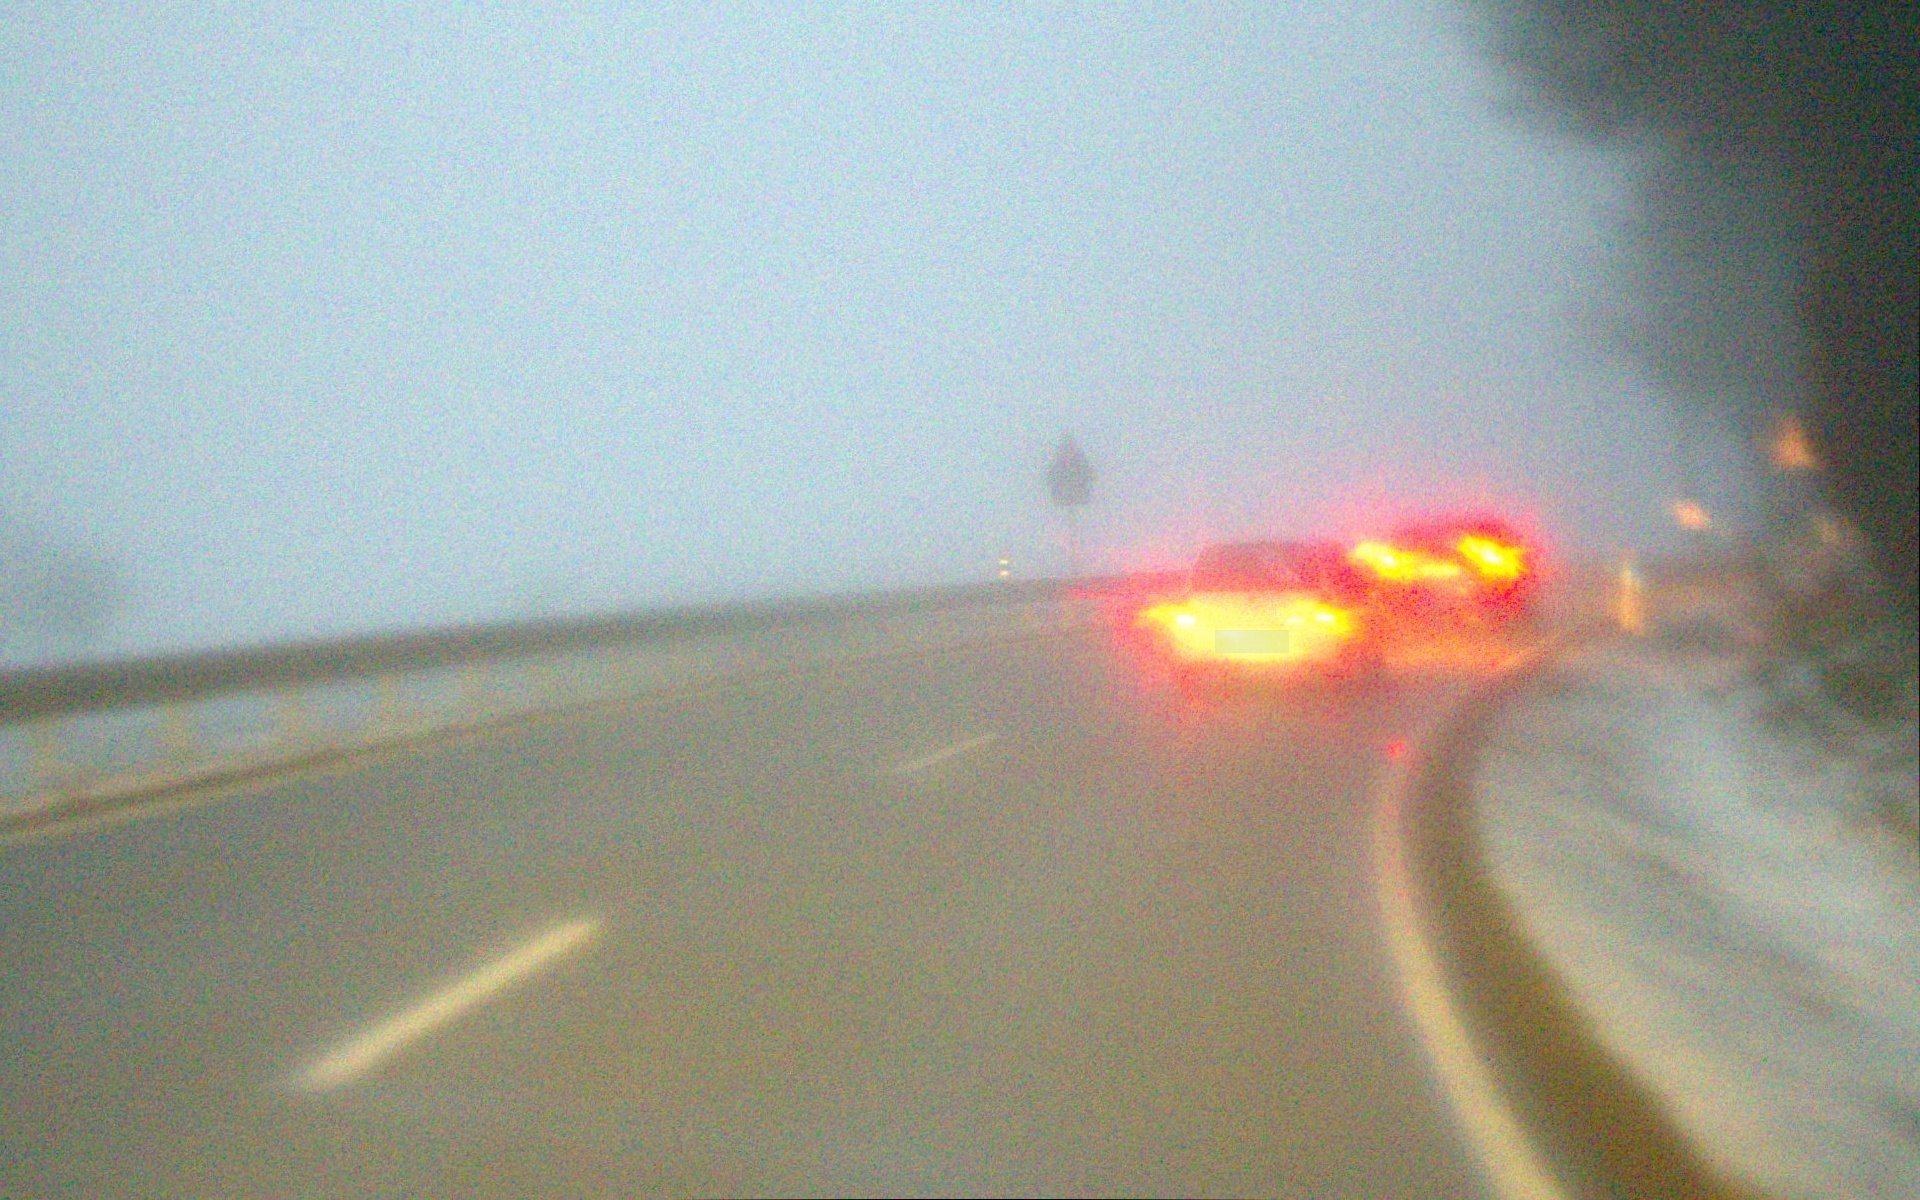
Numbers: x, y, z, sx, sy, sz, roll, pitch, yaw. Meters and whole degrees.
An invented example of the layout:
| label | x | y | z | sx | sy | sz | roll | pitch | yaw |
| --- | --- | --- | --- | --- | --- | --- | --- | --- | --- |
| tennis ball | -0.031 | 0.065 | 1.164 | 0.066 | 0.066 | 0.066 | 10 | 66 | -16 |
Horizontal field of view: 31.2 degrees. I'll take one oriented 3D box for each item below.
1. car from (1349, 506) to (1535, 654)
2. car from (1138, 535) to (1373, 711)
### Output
| label | x | y | z | sx | sy | sz | roll | pitch | yaw |
| --- | --- | --- | --- | --- | --- | --- | --- | --- | --- |
| car | 6.238 | -0.290 | 44.138 | 1.995 | 1.776 | 3.998 | -1 | 1 | 13 |
| car | 2.839 | 0.171 | 32.272 | 1.946 | 1.376 | 3.999 | -2 | 2 | 8 |
